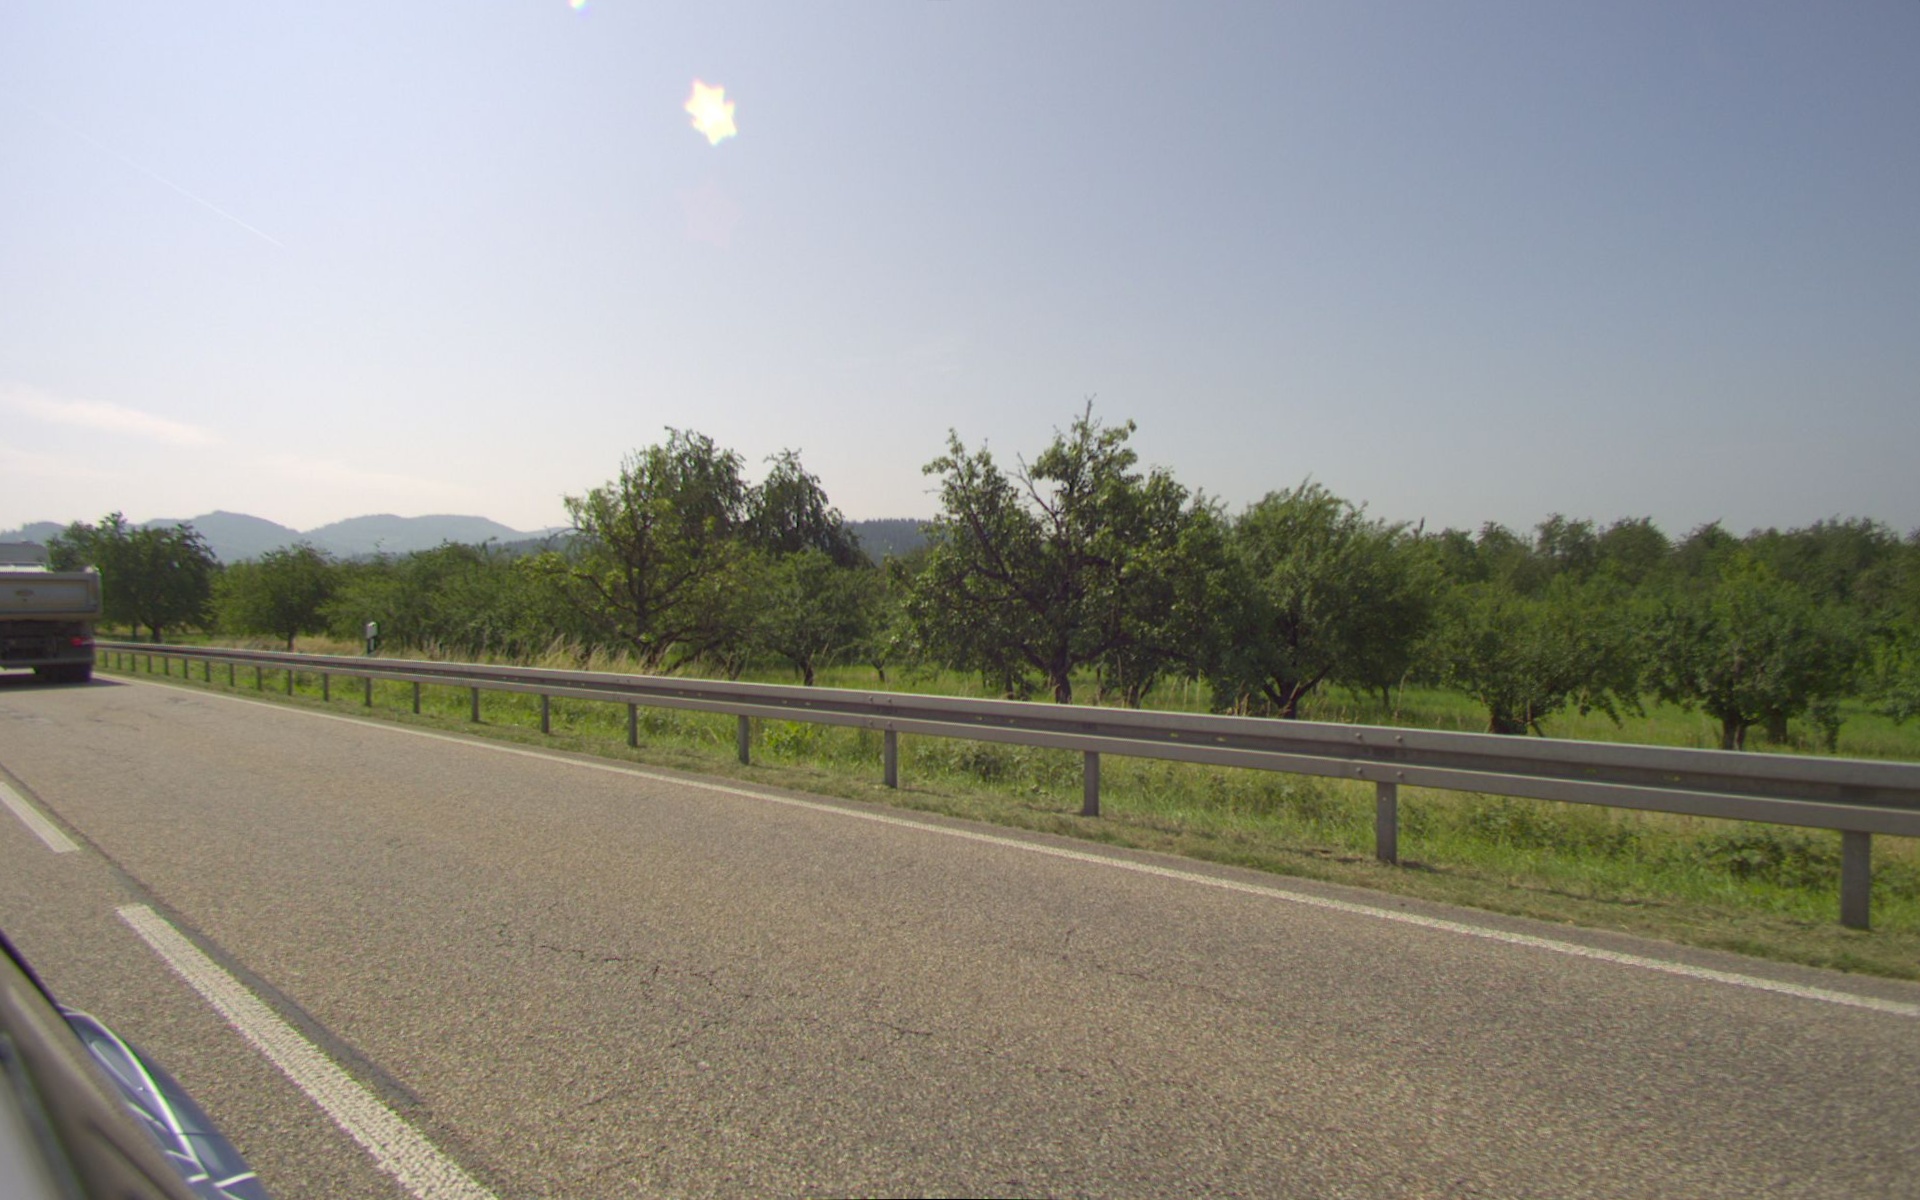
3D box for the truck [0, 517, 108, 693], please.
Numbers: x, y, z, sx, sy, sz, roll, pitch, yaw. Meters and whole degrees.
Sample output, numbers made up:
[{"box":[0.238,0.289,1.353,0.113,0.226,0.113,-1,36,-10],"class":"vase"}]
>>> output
[{"box":[-23.429,0.138,24.668,9.378,3.699,2.700,-1,0,41],"class":"truck"}]
